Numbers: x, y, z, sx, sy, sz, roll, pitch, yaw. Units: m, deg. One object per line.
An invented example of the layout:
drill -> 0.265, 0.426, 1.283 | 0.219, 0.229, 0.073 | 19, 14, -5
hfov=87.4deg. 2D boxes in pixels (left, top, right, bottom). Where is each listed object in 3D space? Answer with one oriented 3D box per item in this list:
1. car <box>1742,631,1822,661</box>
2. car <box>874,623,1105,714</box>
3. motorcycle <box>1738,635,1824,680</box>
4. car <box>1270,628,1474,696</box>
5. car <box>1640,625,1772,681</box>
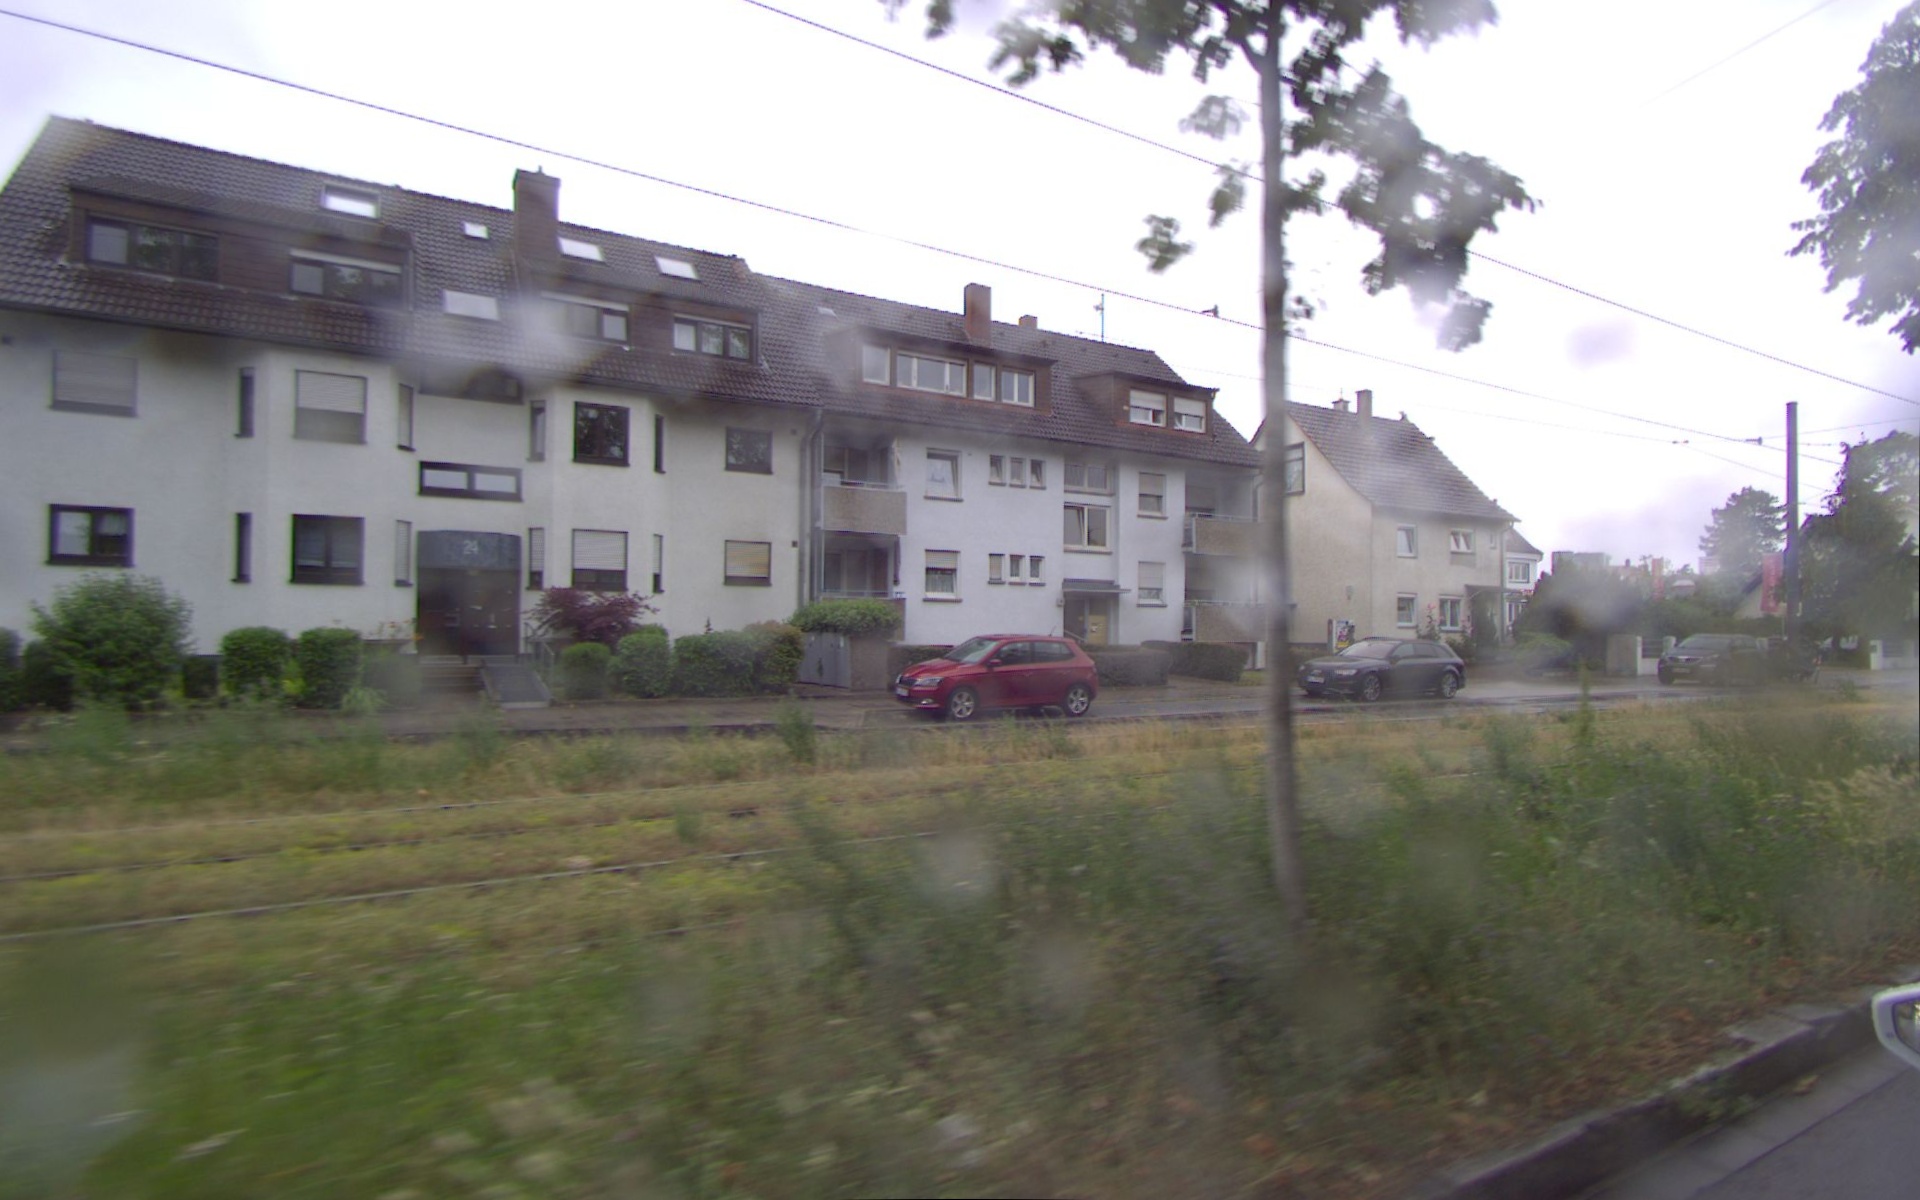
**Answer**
car -> 43.238, 2.396, 52.820 | 3.871, 1.475, 1.984 | 1, 0, -30
car -> 0.567, 1.221, 18.847 | 3.949, 1.476, 1.791 | 1, 0, -28
motorcycle -> 28.993, 1.995, 35.543 | 1.241, 1.429, 2.689 | 2, -1, 13
car -> 9.957, 1.442, 24.231 | 4.701, 1.430, 1.986 | 1, 0, -28
car -> 24.340, 1.708, 32.743 | 4.338, 1.696, 1.983 | 2, -1, -31
